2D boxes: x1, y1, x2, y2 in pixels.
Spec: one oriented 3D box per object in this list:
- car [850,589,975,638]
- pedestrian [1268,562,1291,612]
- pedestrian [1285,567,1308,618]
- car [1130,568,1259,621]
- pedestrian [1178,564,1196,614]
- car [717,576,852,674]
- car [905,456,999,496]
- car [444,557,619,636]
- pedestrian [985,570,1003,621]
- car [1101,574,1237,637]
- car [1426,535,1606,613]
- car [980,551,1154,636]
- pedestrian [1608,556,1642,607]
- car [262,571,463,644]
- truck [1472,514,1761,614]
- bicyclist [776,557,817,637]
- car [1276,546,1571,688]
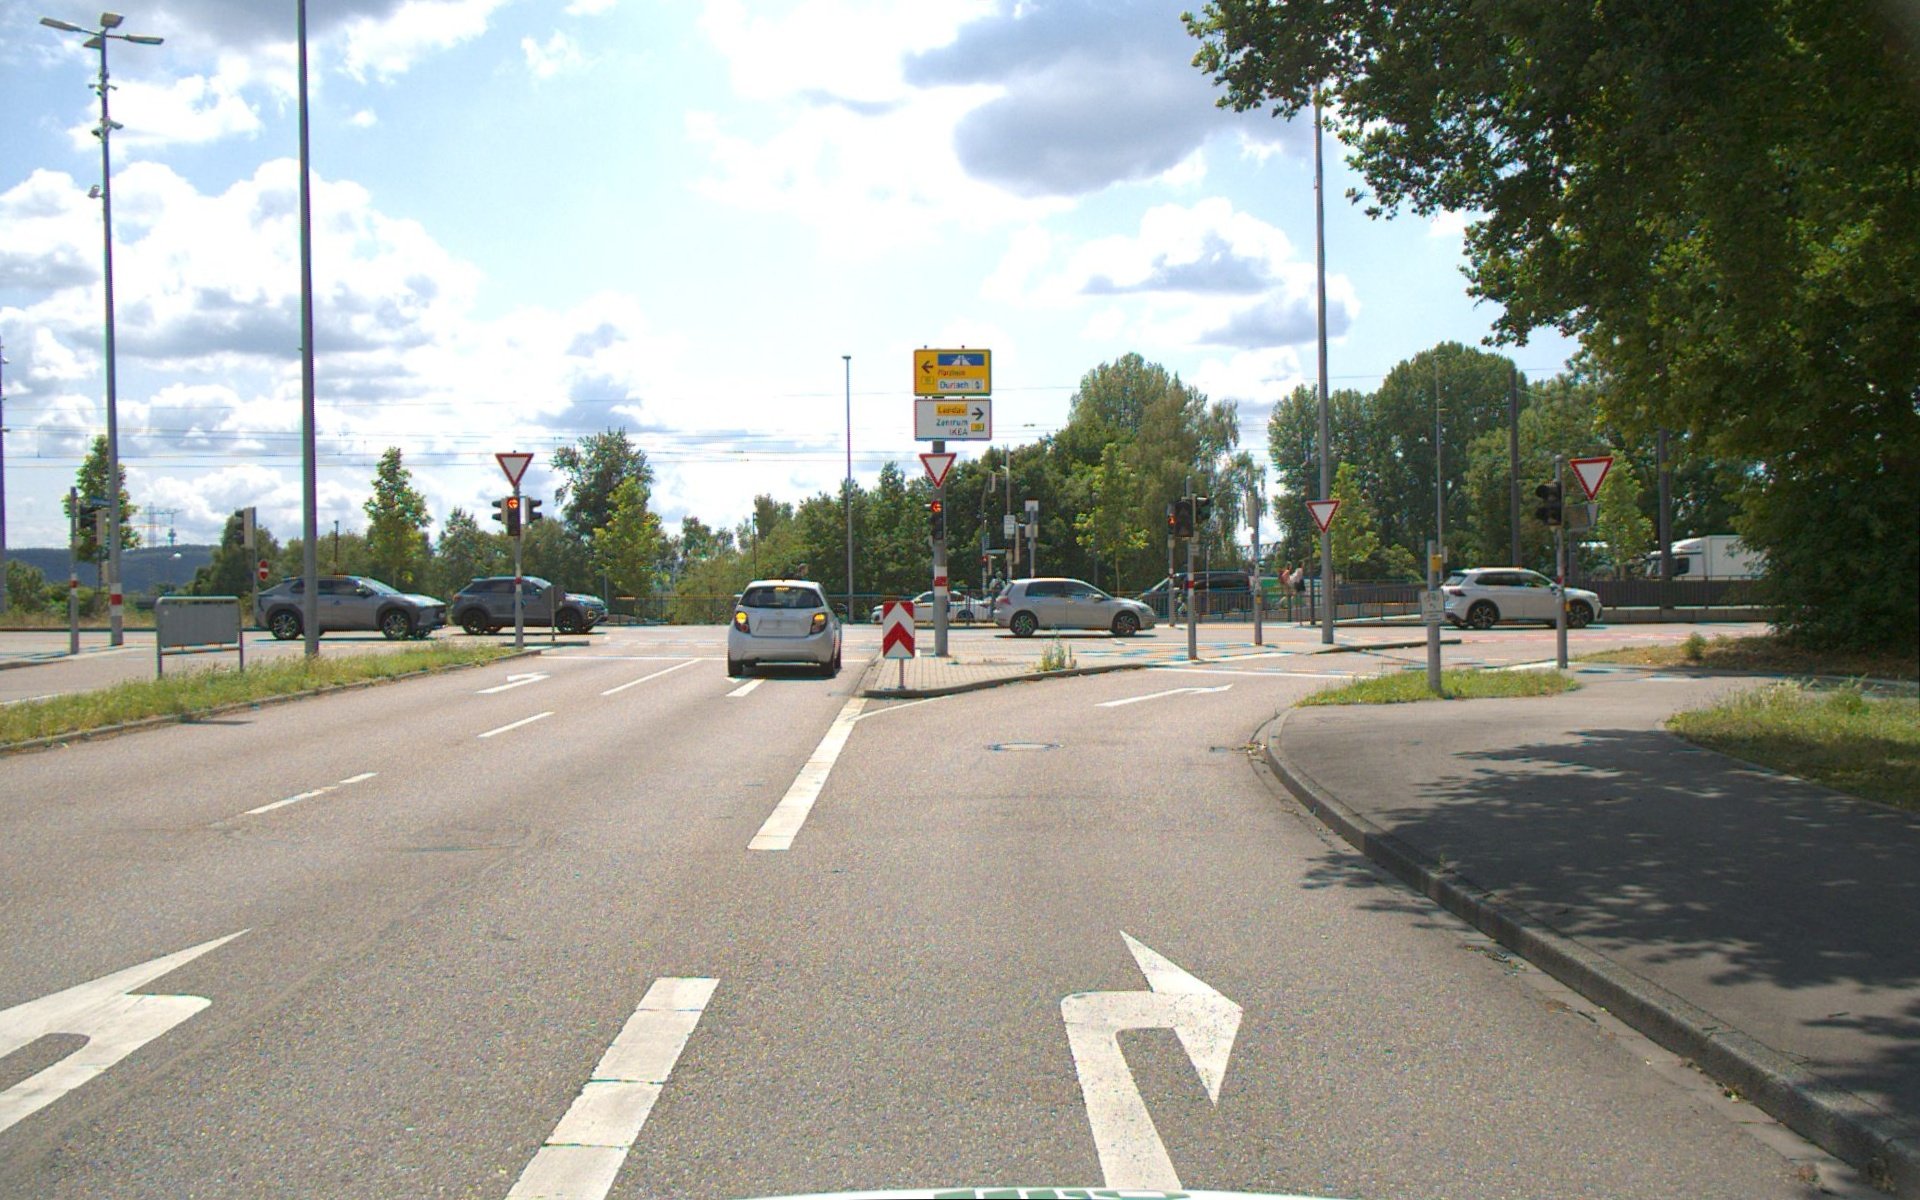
[{"bbox_3d":[-1.941,0.531,67.980,5.014,1.839,1.999,-2,0,-2],"label":"car"},{"bbox_3d":[11.477,-0.477,59.399,0.691,1.751,0.601,-2,0,1],"label":"pedestrian"},{"bbox_3d":[11.916,-0.275,58.586,0.662,1.778,0.637,-1,2,1],"label":"pedestrian"},{"bbox_3d":[8.860,-0.199,62.871,4.557,1.852,1.999,-2,0,-2],"label":"car"},{"bbox_3d":[7.992,-0.391,58.224,0.512,1.751,0.730,-2,0,3],"label":"pedestrian"},{"bbox_3d":[-2.860,0.382,27.677,1.855,1.495,3.833,1,0,-1],"label":"car"},{"bbox_3d":[-0.376,-5.364,71.670,3.948,1.490,1.932,-2,0,-4],"label":"car"},{"bbox_3d":[-11.760,-0.100,45.585,4.261,2.024,1.999,-2,0,-2],"label":"car"},{"bbox_3d":[1.214,-0.170,59.496,0.598,1.800,0.672,-1,0,0],"label":"pedestrian"},{"bbox_3d":[6.494,0.157,51.694,3.907,1.814,1.909,-2,0,-3],"label":"car"},{"bbox_3d":[15.380,-0.708,45.887,4.261,2.024,1.999,-2,0,-2],"label":"car"},{"bbox_3d":[2.700,-0.173,42.556,4.261,2.024,1.999,-2,0,-2],"label":"car"},{"bbox_3d":[24.581,-0.685,61.159,0.908,1.839,0.736,-1,0,-2],"label":"pedestrian"},{"bbox_3d":[-15.252,0.186,42.372,4.413,1.704,1.904,-2,0,0],"label":"car"},{"bbox_3d":[29.103,-1.584,73.665,11.714,4.176,2.952,-1,0,-1],"label":"truck"},{"bbox_3d":[-3.895,-0.069,39.383,0.902,1.878,0.611,-1,0,-2],"label":"bicyclist"},{"bbox_3d":[5.581,0.192,20.203,3.146,1.558,1.717,-2,0,3],"label":"car"}]
